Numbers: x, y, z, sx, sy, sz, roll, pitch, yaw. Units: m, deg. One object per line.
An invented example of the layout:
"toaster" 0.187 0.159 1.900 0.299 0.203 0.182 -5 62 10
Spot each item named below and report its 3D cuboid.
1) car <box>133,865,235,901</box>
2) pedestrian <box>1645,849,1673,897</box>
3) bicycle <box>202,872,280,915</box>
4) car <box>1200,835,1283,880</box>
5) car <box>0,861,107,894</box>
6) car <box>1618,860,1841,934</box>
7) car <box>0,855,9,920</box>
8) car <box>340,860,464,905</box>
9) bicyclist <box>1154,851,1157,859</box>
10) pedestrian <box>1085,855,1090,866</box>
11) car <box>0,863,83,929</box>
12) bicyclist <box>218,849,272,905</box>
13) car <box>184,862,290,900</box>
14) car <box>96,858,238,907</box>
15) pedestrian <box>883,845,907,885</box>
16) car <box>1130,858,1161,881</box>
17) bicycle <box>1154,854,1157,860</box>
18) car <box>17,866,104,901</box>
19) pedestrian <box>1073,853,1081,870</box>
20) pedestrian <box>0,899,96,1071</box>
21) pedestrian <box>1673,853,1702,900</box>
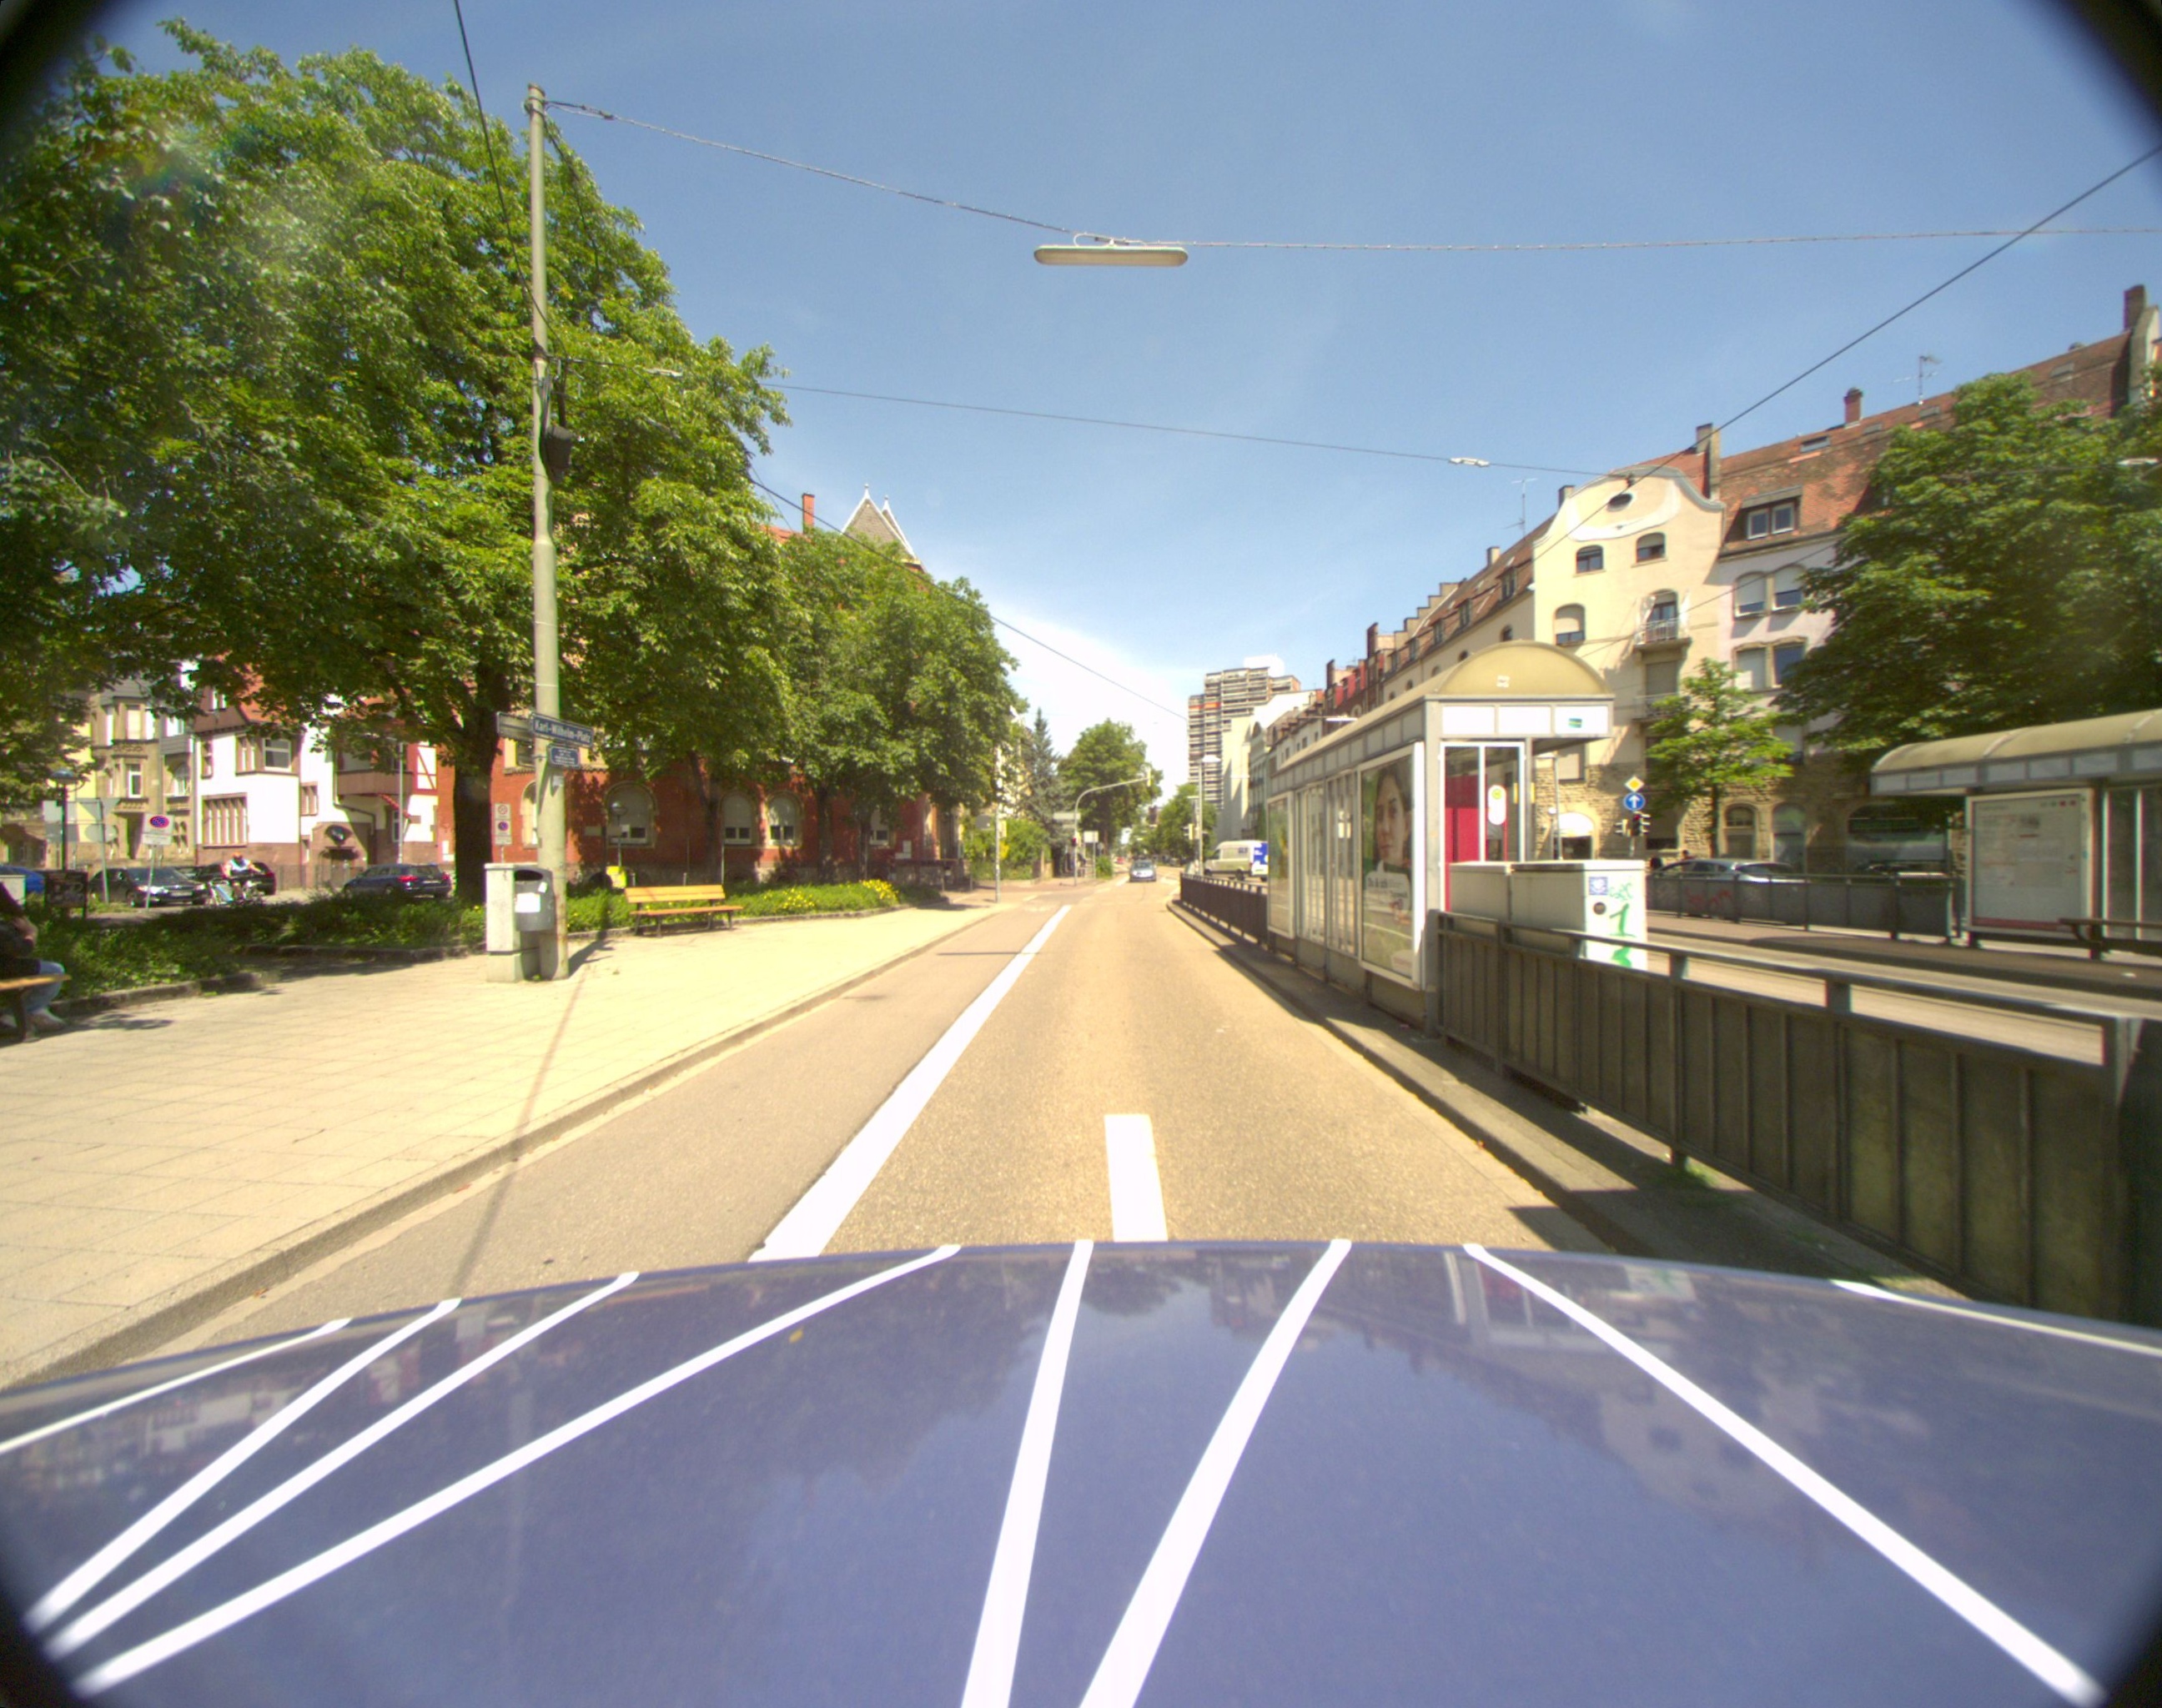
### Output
"car" -44.151 1.427 37.408 4.299 1.608 1.941 -2 1 23
"pedestrian" 20.125 0.651 26.469 0.594 1.637 0.474 0 0 1
"bicycle" -26.858 1.253 24.266 3.735 1.256 0.957 -2 1 32
"car" 10.257 0.213 49.165 2.276 2.658 5.816 -3 1 -23
"car" -51.171 1.181 37.849 5.023 1.474 1.941 -2 1 22
"car" 14.835 0.910 17.721 1.812 1.386 3.999 -2 1 1
"car" -37.662 1.197 23.790 1.934 2.178 4.315 -2 1 23
"car" -27.046 1.131 30.282 4.299 1.608 1.941 -2 1 23
"bicyclist" 18.513 0.289 188.899 0.644 1.864 0.716 -2 1 -2
"pedestrian" 1.041 1.077 125.677 0.686 1.732 0.660 -2 1 3
"car" -32.846 1.298 22.022 1.934 1.869 4.315 -2 1 23
"bicyclist" -26.293 0.722 23.891 1.251 1.686 0.876 -2 1 32
"car" -39.592 1.272 35.662 4.299 1.608 1.941 -2 1 23
"car" -33.635 1.048 27.973 4.514 1.608 1.941 -2 1 21
"pedestrian" -8.584 0.493 35.028 0.840 1.813 0.672 -1 1 -37
"car" 4.302 0.998 50.809 1.895 1.372 4.001 -2 1 5
"bicycle" 18.542 0.810 188.917 0.644 1.503 1.970 -2 1 -2
"car" -59.180 1.705 44.075 4.299 1.862 1.941 -2 1 23
"pedestrian" -0.401 0.740 74.283 0.702 1.645 0.665 0 0 1
"pedestrian" -7.746 0.910 5.413 0.566 1.136 0.725 0 1 -16
"pedestrian" 20.285 0.754 25.420 0.594 1.542 0.474 0 0 -1
